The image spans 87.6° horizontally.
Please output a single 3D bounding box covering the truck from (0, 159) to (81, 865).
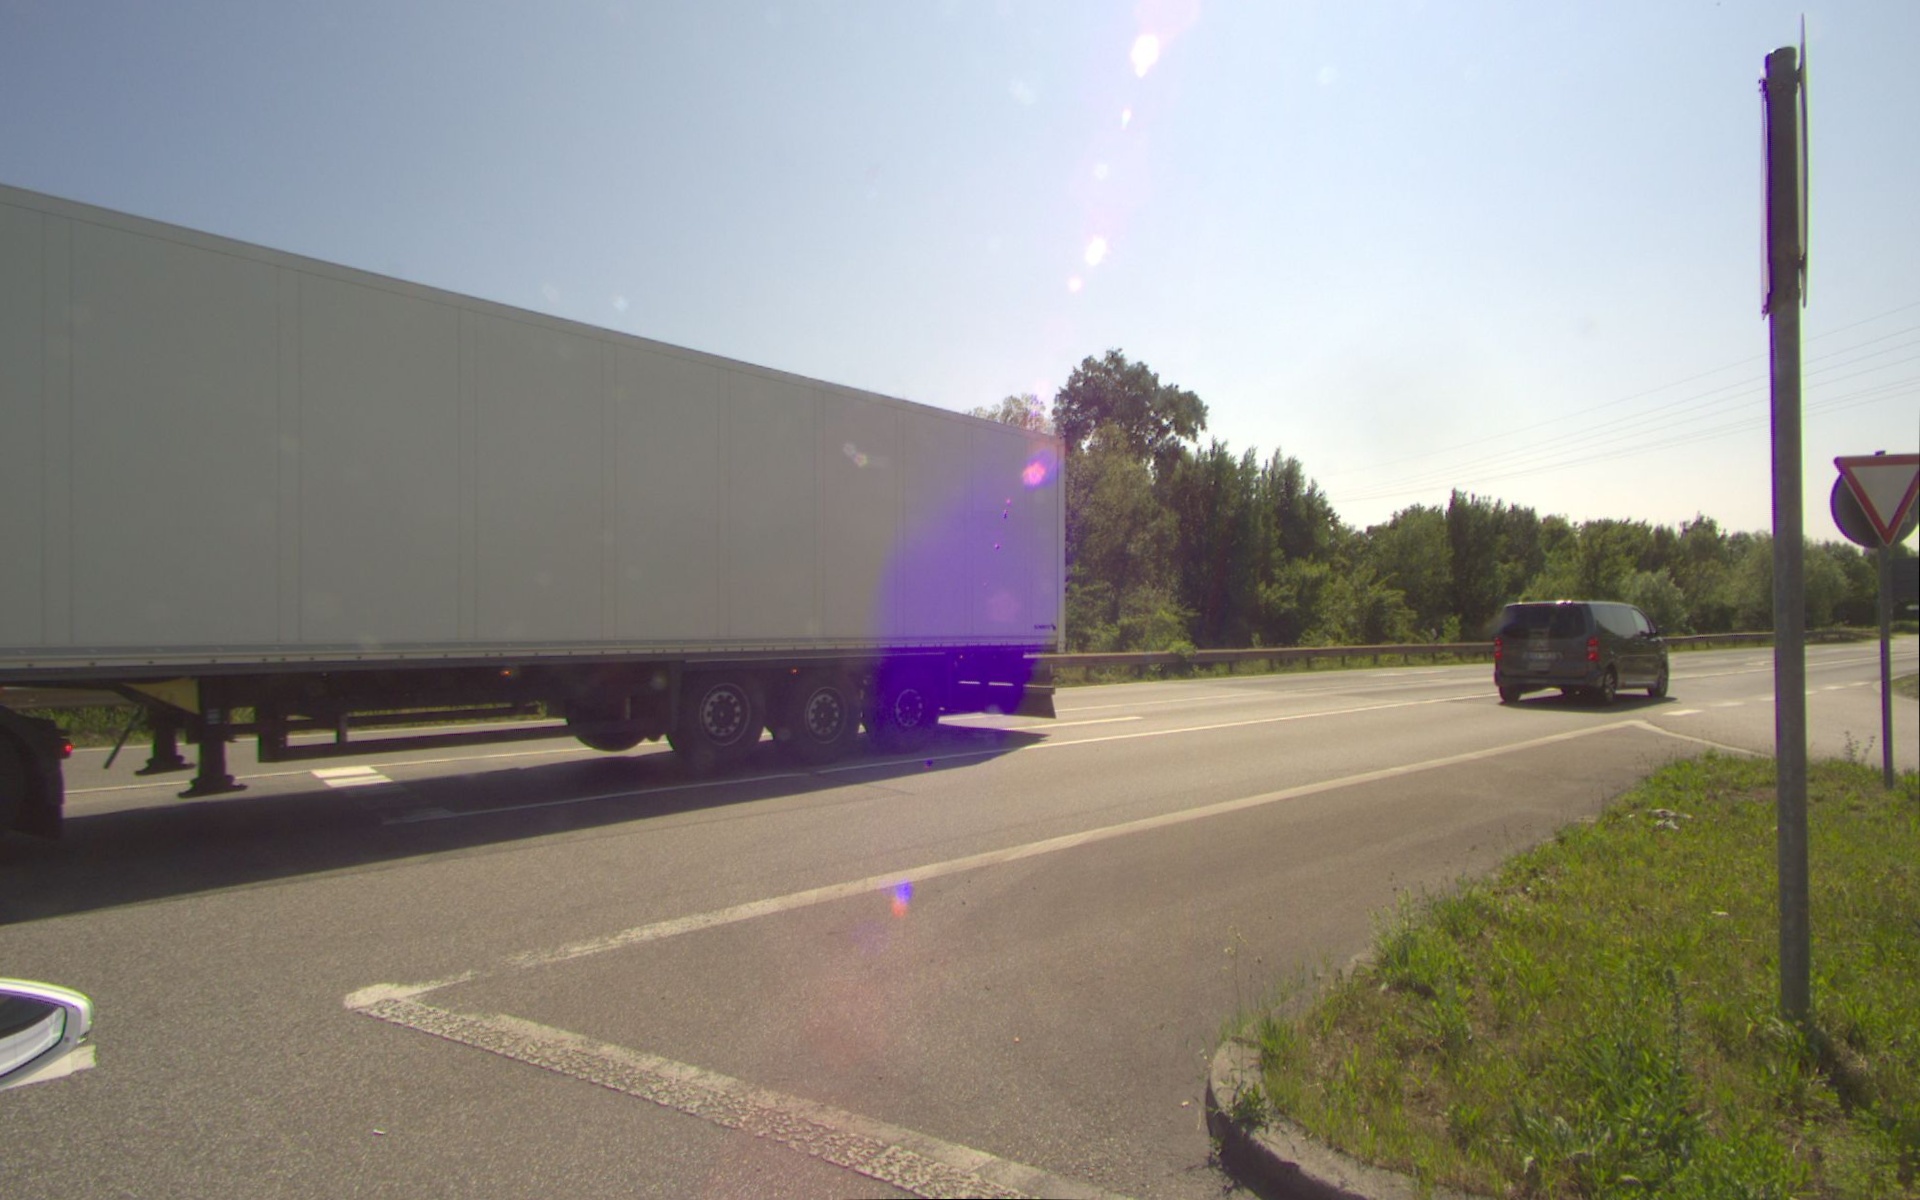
[{"bbox_3d":[-8.063,-0.591,4.186,2.832,4.227,5.956,0,-2,23],"label":"truck"}]

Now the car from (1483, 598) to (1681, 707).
[{"bbox_3d":[12.373,0.989,19.774,4.941,1.903,1.983,2,-2,-41],"label":"car"}]

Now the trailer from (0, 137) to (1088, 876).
[{"bbox_3d":[-3.859,-0.445,9.735,2.864,4.219,13.867,0,-1,41],"label":"trailer"}]
